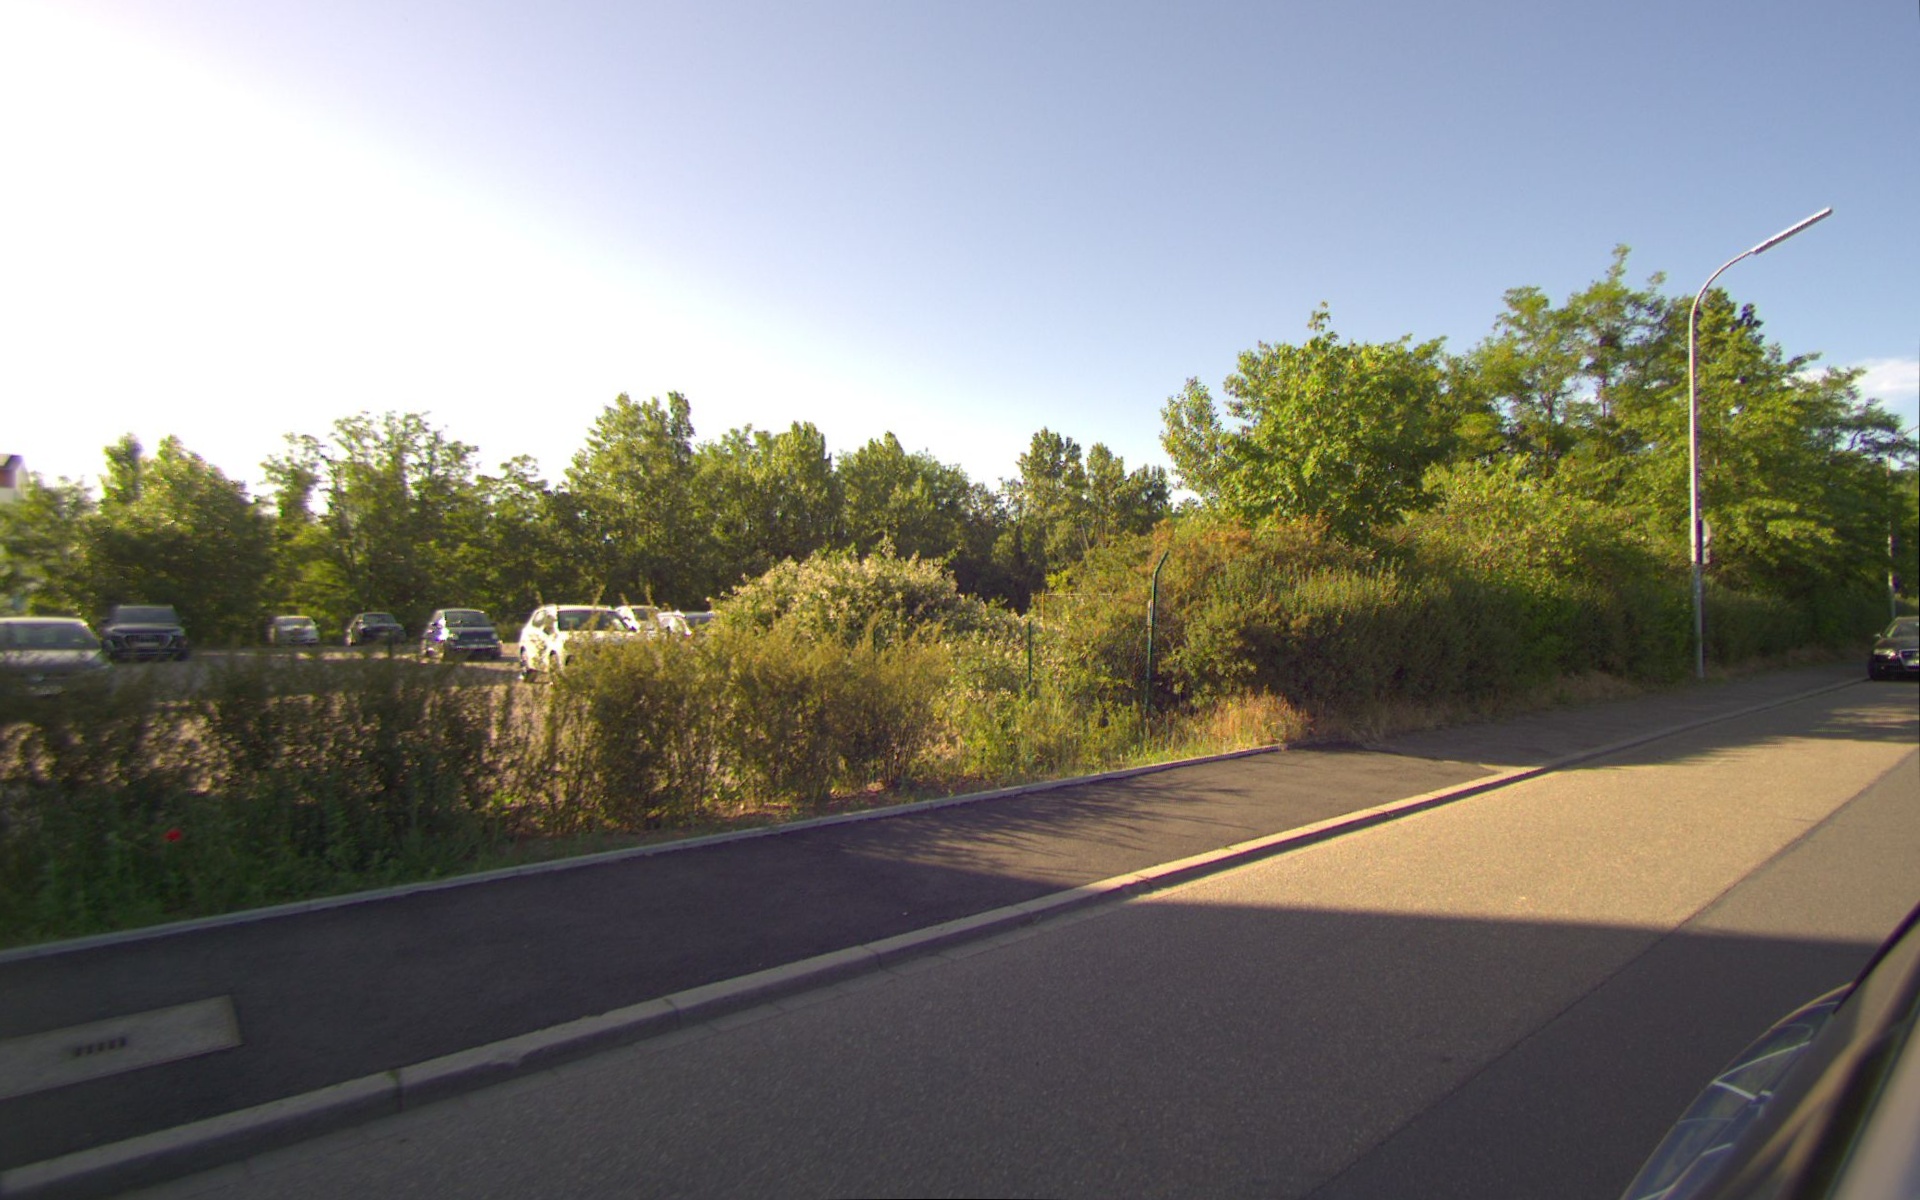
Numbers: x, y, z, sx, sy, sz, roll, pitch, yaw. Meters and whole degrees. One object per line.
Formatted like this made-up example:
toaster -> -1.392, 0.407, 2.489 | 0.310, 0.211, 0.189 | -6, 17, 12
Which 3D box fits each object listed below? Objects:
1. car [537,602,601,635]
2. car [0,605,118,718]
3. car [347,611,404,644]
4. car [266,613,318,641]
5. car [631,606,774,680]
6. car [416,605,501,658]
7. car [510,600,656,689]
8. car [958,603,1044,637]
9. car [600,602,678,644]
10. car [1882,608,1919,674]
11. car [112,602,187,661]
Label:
car -> -20.818, 0.944, 53.815 | 1.998, 1.599, 4.505 | 0, 0, -37
car -> -14.286, 0.870, 15.594 | 1.854, 1.546, 4.121 | 0, -1, -42
car -> -25.074, 1.136, 43.347 | 1.657, 1.262, 3.887 | 0, 0, -37
car -> -29.892, 1.179, 45.237 | 1.658, 1.101, 3.887 | 0, 1, -38
car -> -5.721, 0.879, 22.214 | 1.657, 1.457, 3.887 | 0, -1, -37
car -> -15.039, 0.898, 30.271 | 1.598, 1.479, 3.676 | 0, 0, -37
car -> -7.730, 0.822, 20.563 | 1.723, 1.608, 3.916 | 0, 0, -37
car -> 1.779, 0.868, 45.455 | 1.805, 1.416, 3.887 | 0, 0, -37
car -> -12.312, 0.841, 38.700 | 1.657, 1.484, 3.887 | 0, 0, -37
car -> 22.699, 0.871, 23.210 | 4.576, 1.432, 1.755 | 0, -4, -42
car -> -23.528, 0.848, 29.358 | 1.613, 1.560, 3.896 | 0, 0, -40
